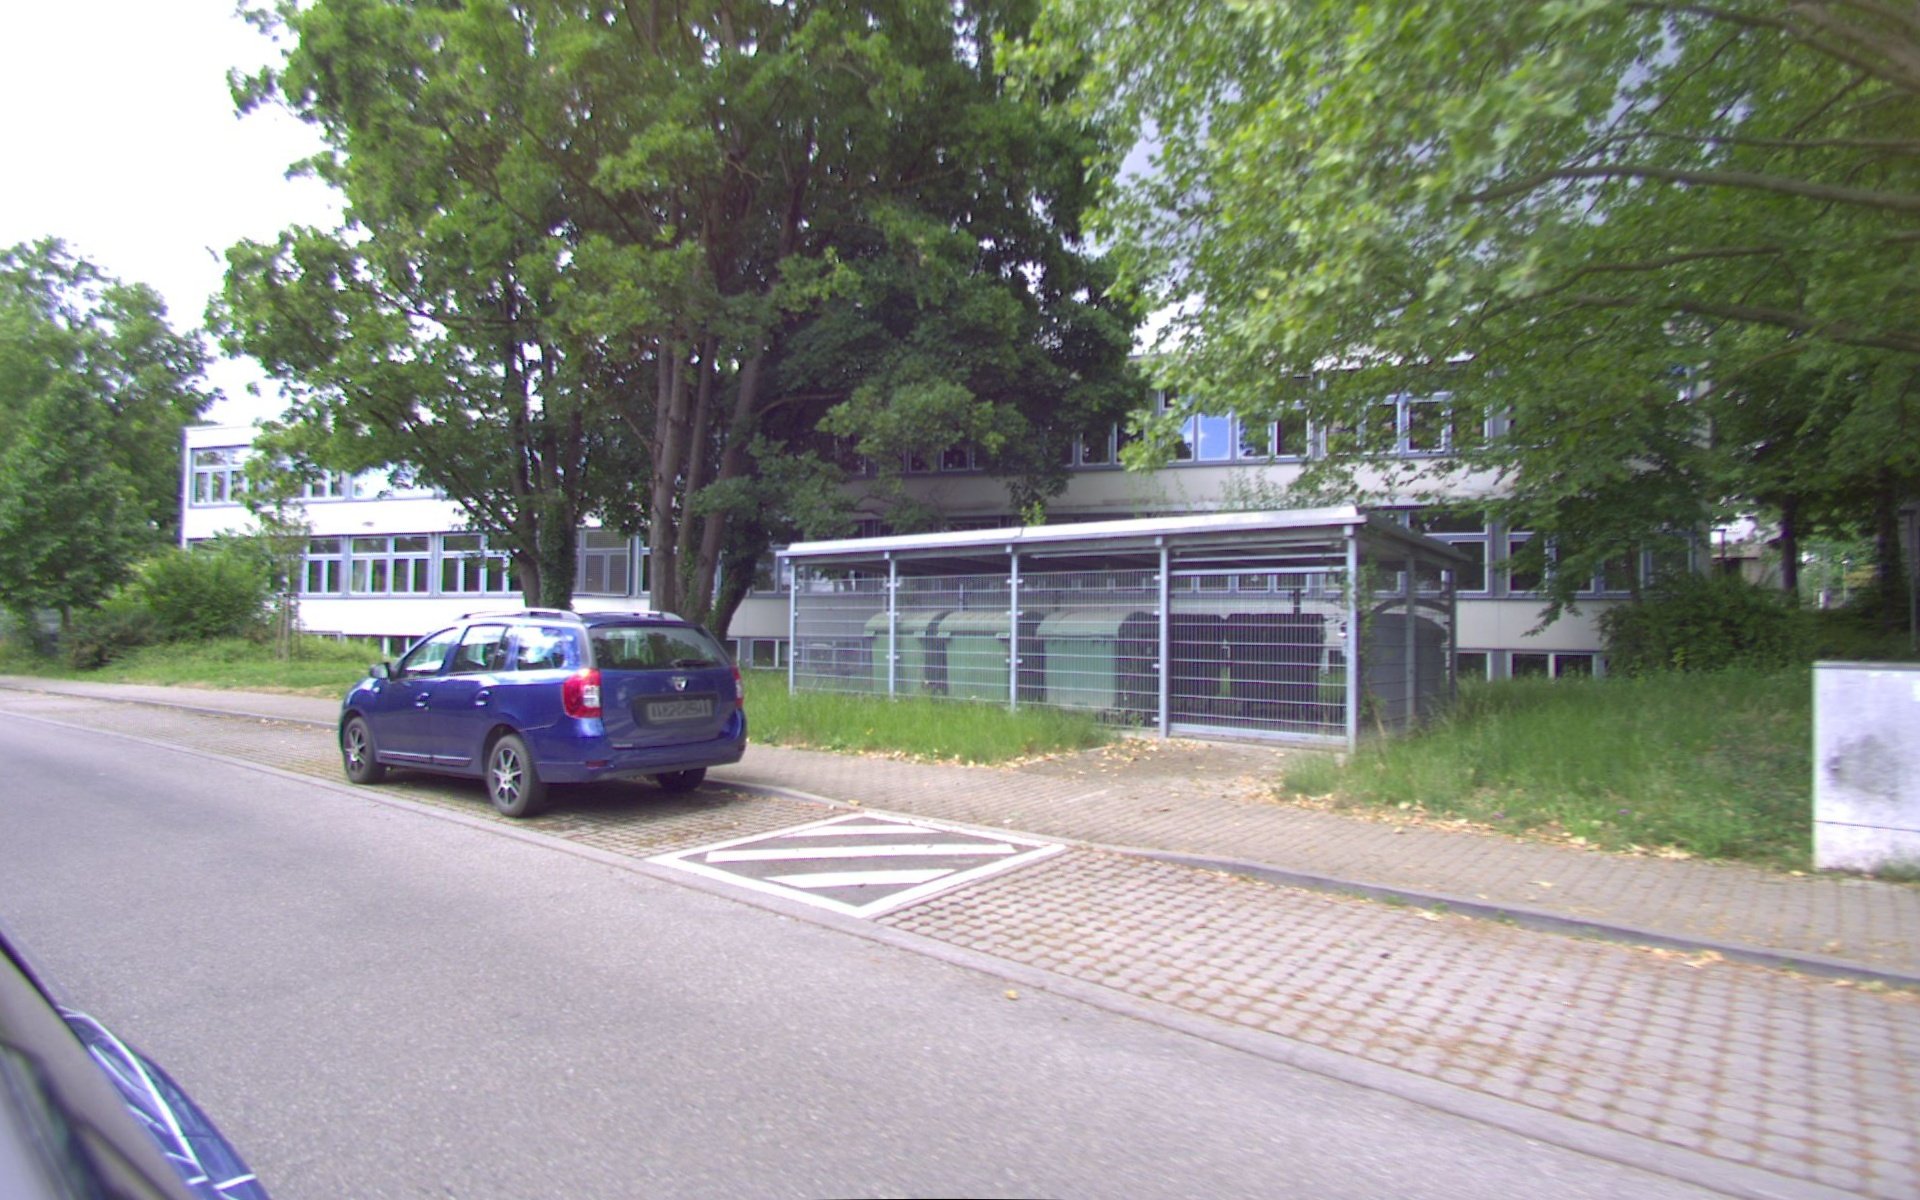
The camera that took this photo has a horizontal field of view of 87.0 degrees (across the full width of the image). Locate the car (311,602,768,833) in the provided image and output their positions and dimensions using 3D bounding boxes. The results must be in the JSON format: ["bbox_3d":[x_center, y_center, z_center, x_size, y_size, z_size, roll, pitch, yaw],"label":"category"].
[{"bbox_3d":[-3.774,0.838,8.725,4.424,1.523,1.664,-1,-2,37],"label":"car"}]
